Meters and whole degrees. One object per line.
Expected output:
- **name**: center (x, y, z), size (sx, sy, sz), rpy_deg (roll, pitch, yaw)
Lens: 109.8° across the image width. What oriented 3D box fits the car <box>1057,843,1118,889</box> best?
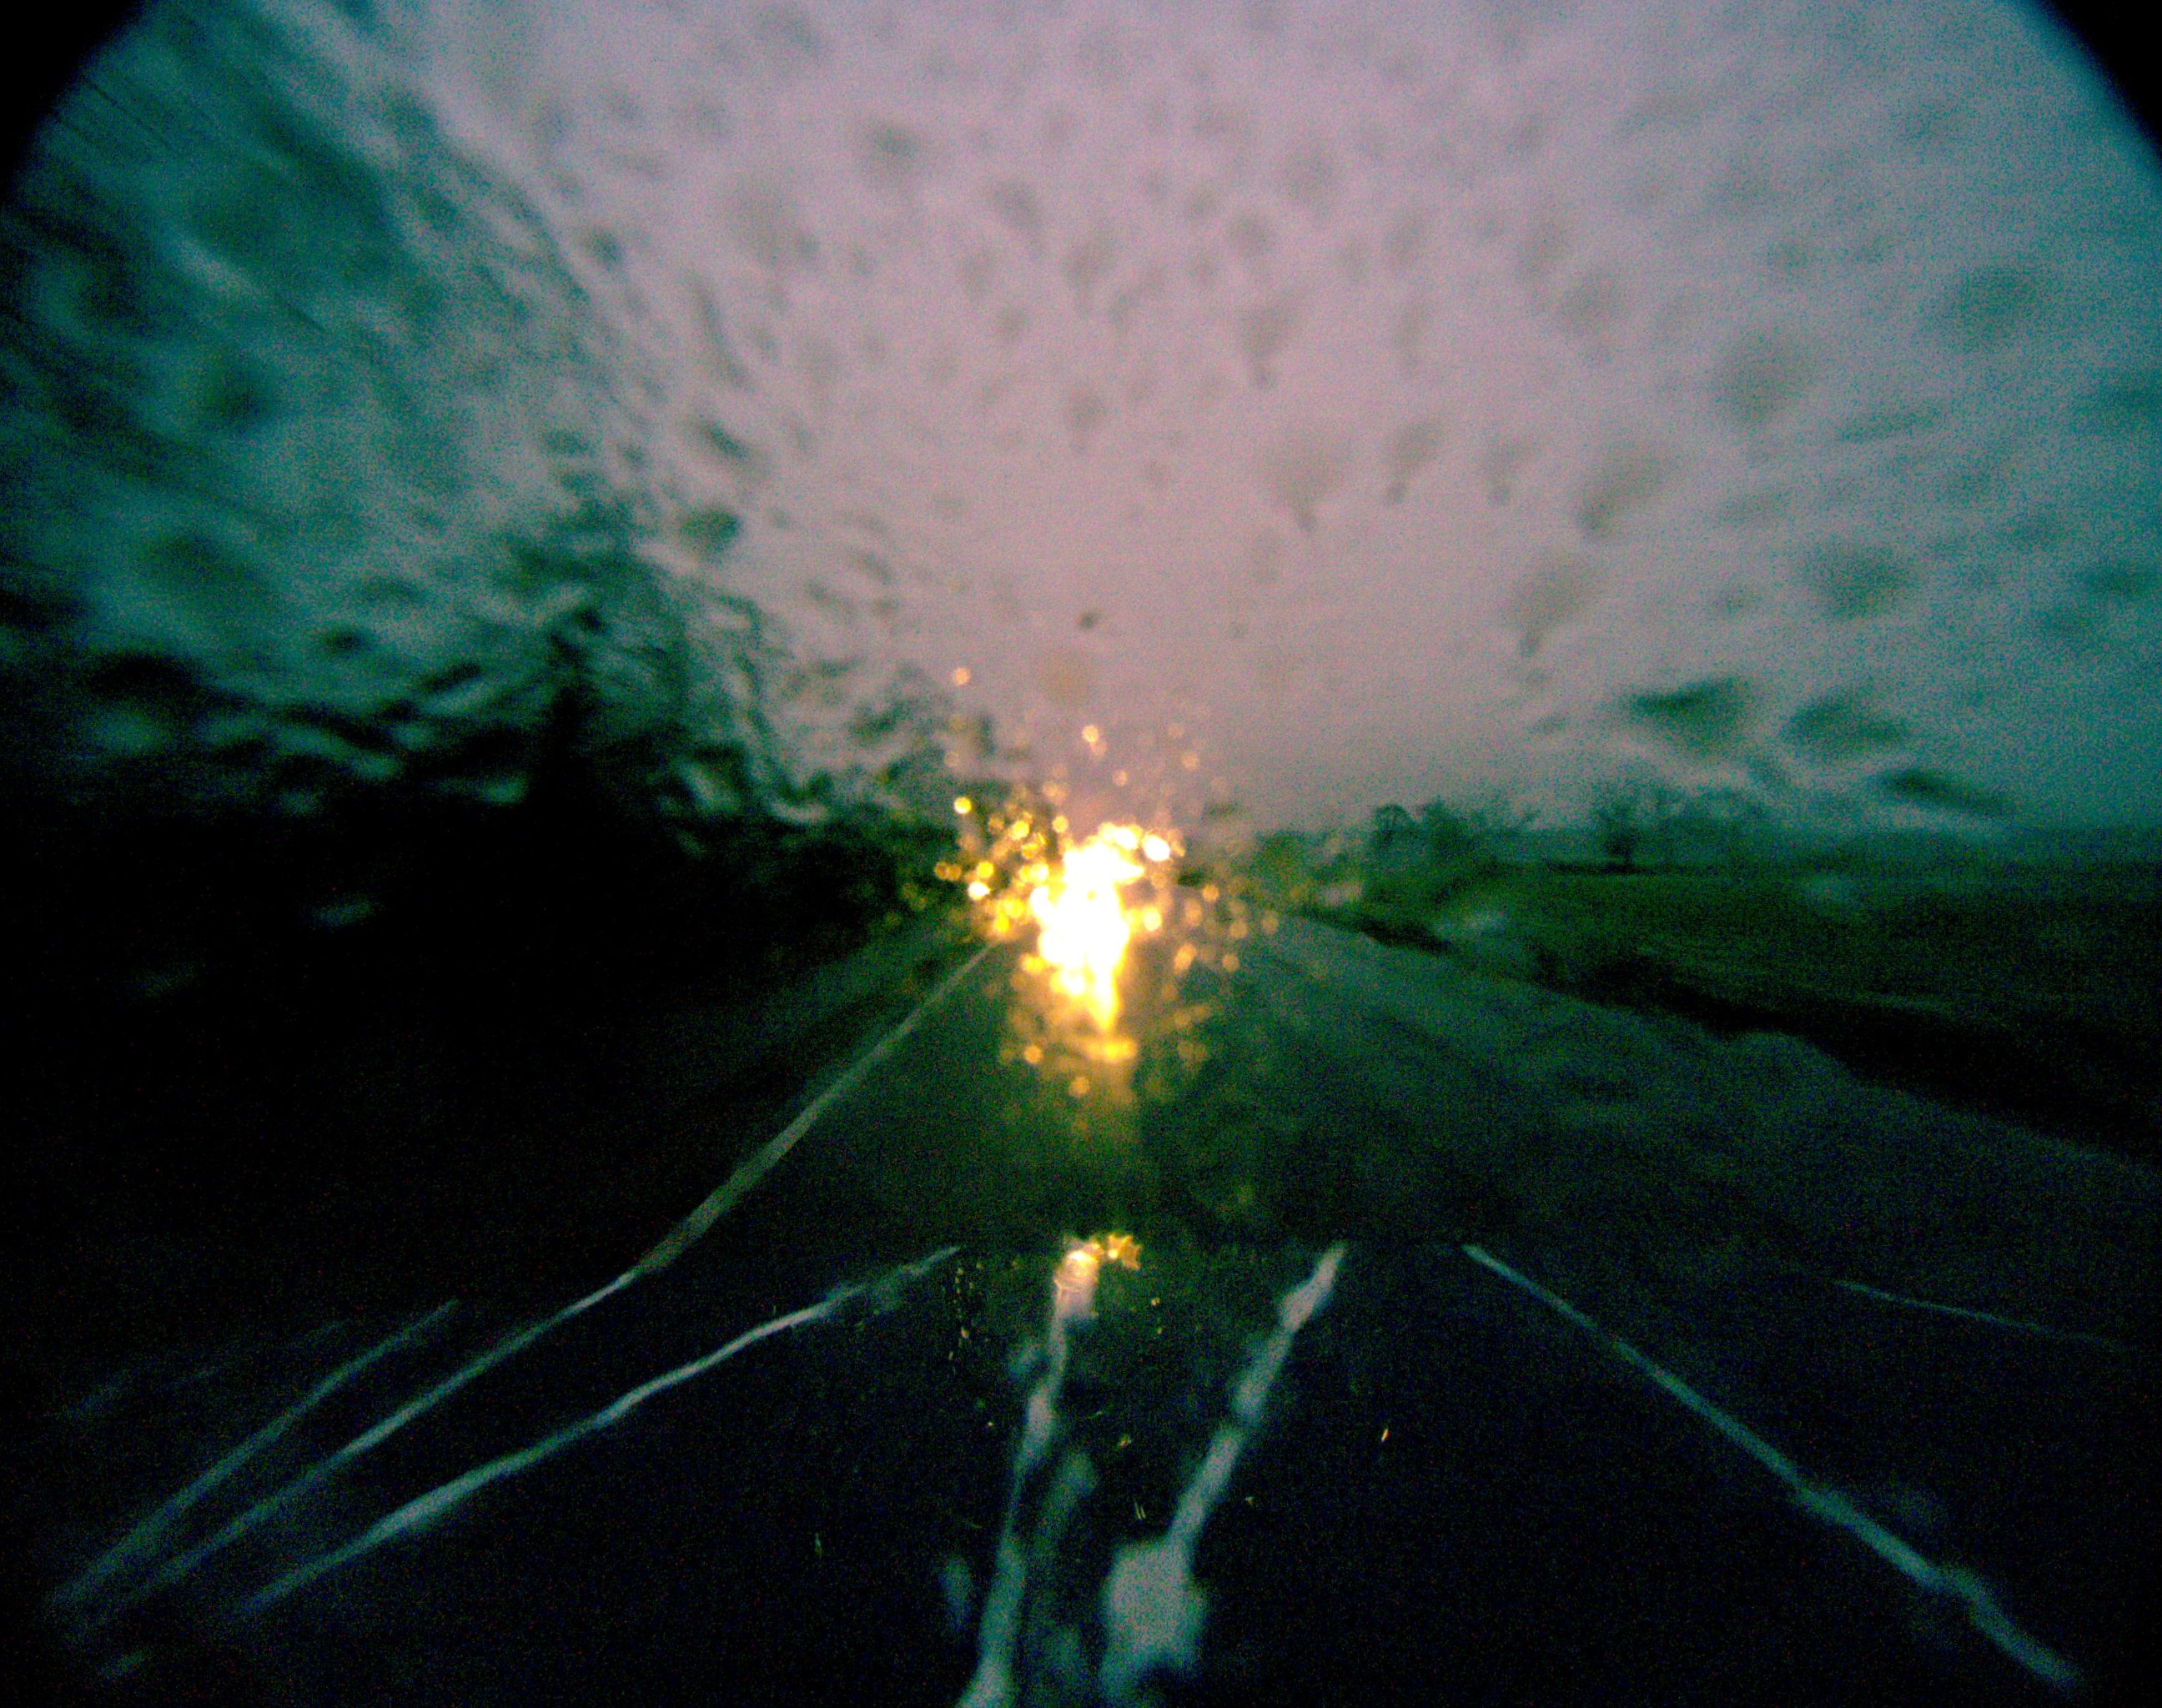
- **car**: center (0.354, 0.522, 37.177), size (2.704, 1.974, 5.804), rpy_deg (-2, 1, 1)
